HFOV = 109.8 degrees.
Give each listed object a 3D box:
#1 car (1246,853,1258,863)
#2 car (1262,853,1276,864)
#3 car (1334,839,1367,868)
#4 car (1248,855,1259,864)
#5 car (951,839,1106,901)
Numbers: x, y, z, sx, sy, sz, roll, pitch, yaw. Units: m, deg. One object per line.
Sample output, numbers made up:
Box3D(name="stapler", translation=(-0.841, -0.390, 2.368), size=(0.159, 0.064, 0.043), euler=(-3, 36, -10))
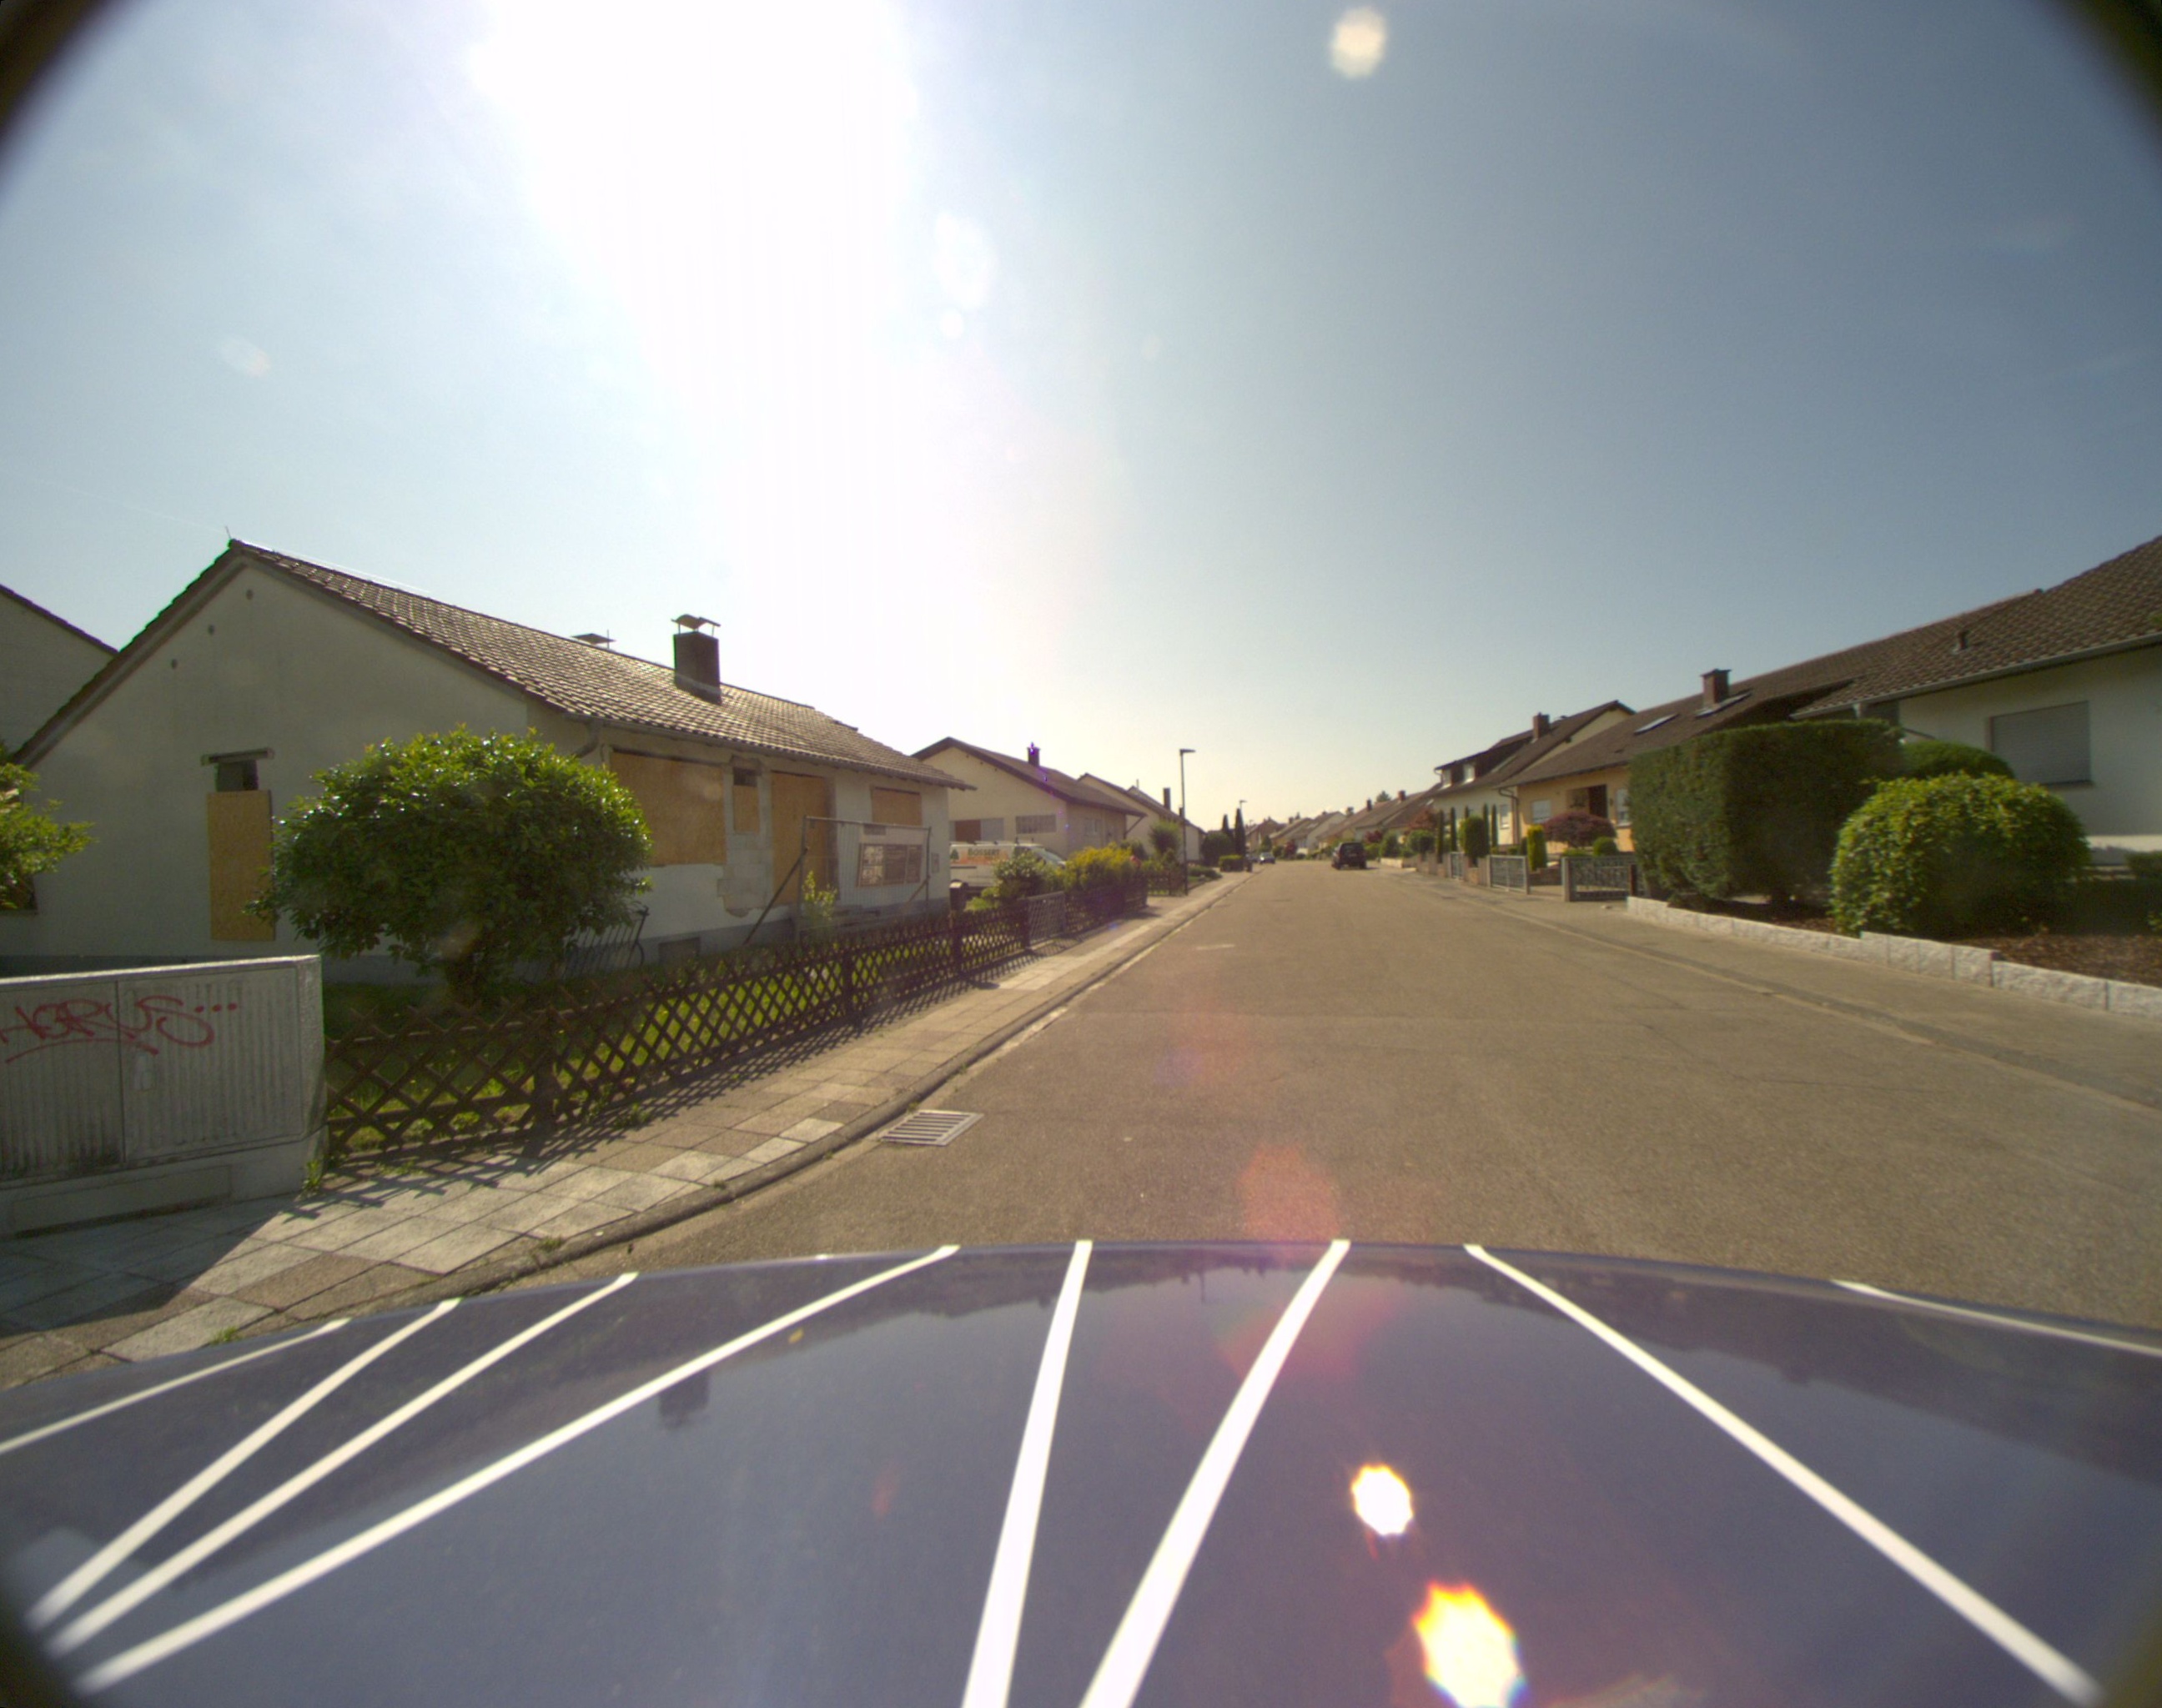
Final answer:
Box3D(name="car", translation=(24.113, 0.552, 107.215), size=(1.458, 1.270, 3.105), euler=(-1, 0, 9))
Box3D(name="car", translation=(23.340, 0.548, 94.472), size=(1.457, 1.270, 3.106), euler=(-1, 0, 10))
Box3D(name="car", translation=(17.566, -0.071, 49.599), size=(1.767, 1.767, 3.656), euler=(-2, 0, 16))
Box3D(name="car", translation=(26.738, 0.794, 117.663), size=(1.457, 1.270, 3.106), euler=(-1, 0, 11))
Box3D(name="car", translation=(-1.822, 0.551, 26.556), size=(5.002, 2.002, 1.870), euler=(-1, 1, 17))
